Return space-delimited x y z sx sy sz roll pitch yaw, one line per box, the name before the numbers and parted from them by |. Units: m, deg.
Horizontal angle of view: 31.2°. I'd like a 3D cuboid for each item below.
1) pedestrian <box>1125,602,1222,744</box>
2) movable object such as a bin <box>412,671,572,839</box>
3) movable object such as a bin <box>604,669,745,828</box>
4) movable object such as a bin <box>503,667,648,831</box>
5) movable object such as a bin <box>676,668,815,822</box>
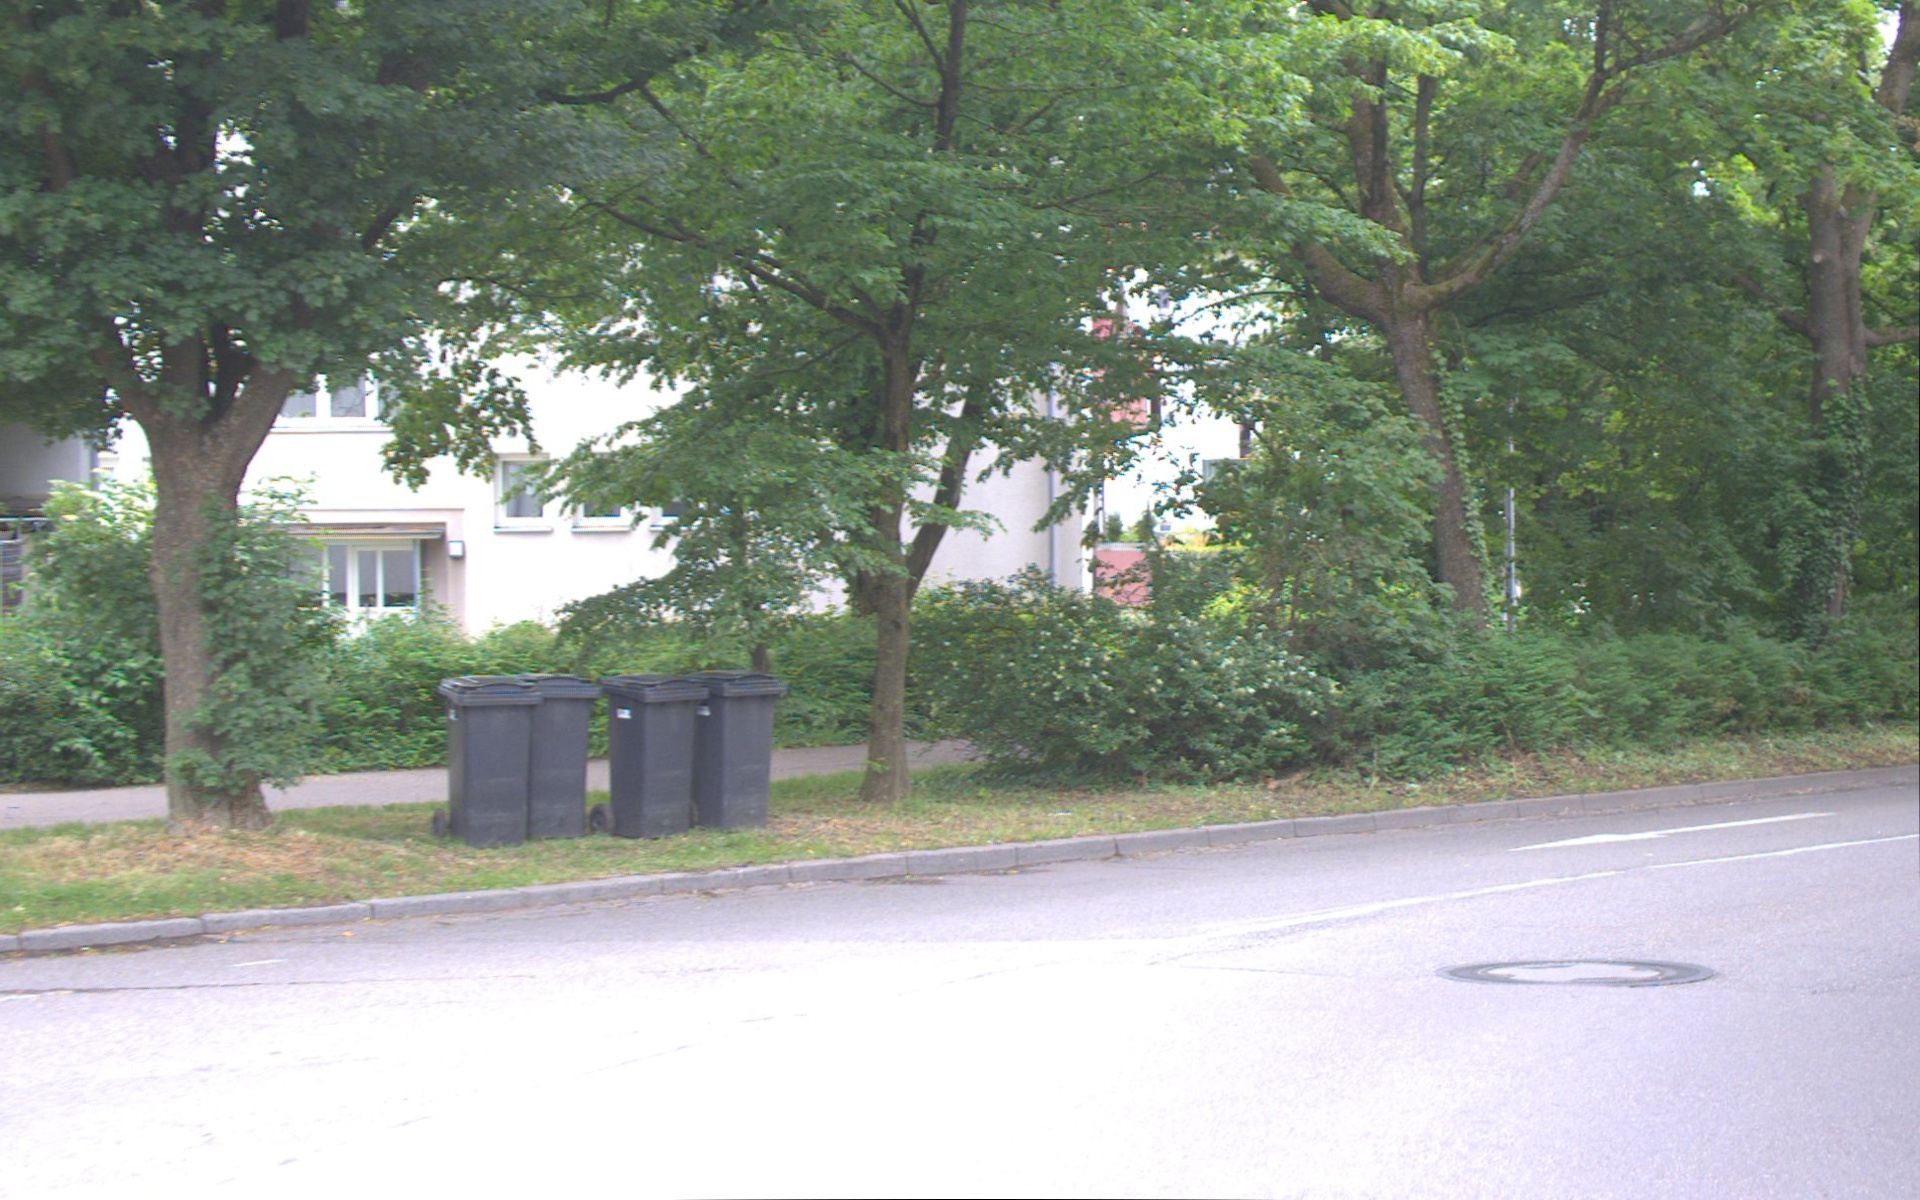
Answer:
pedestrian | 2.331 0.786 37.499 0.609 1.495 0.870 3 2 39
movable object such as a bin | -2.587 0.846 18.983 0.620 0.860 0.731 1 2 -30
movable object such as a bin | -1.643 0.844 19.764 0.576 0.863 0.601 1 2 -30
movable object such as a bin | -2.180 0.835 19.471 0.591 0.876 0.621 1 2 -30
movable object such as a bin | -1.252 0.839 20.061 0.576 0.842 0.601 1 2 -30
